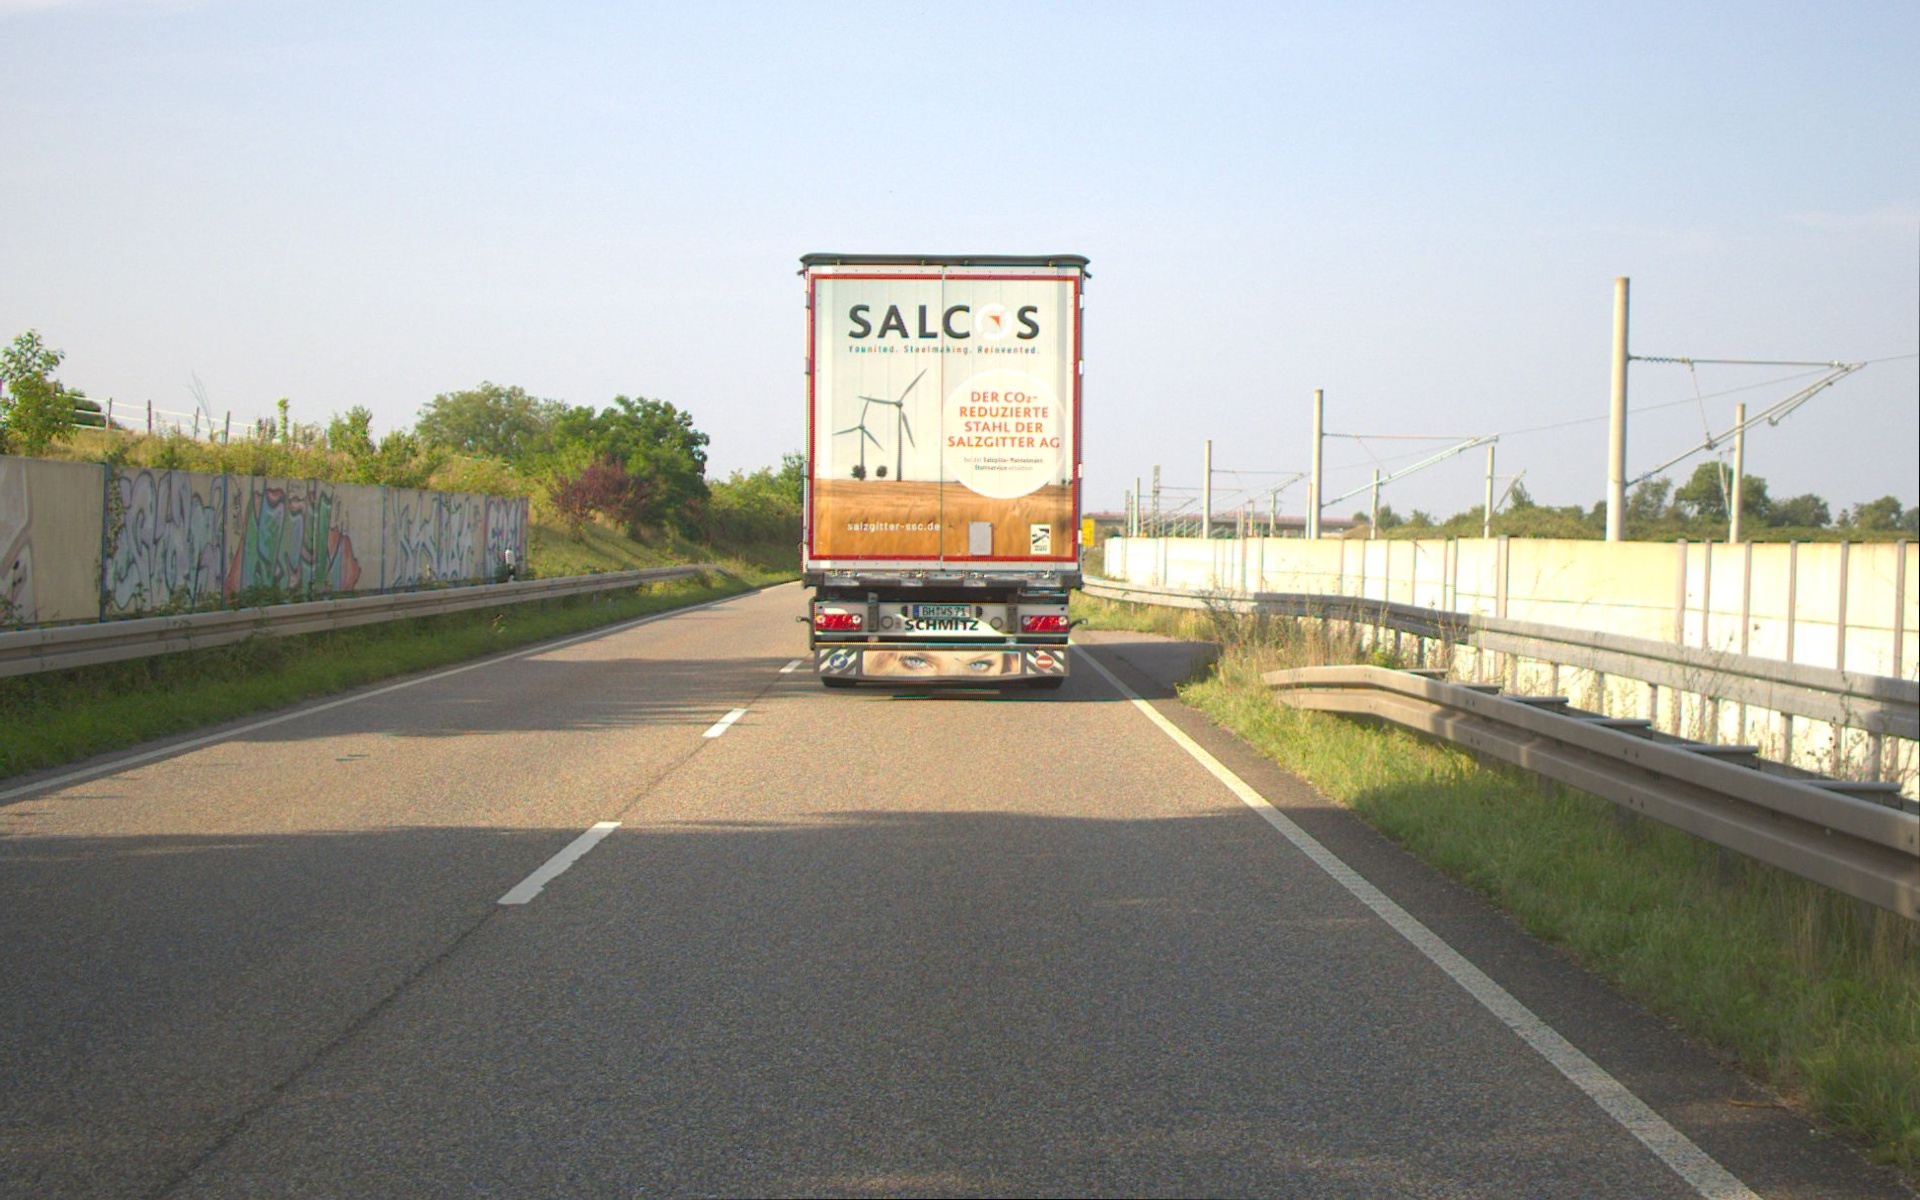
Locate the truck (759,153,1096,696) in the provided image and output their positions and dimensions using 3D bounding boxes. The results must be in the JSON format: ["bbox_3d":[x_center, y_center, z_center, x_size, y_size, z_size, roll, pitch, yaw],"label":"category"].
[{"bbox_3d":[-0.399,-1.750,36.933,3.033,4.903,11.685,0,2,-1],"label":"truck"}]
